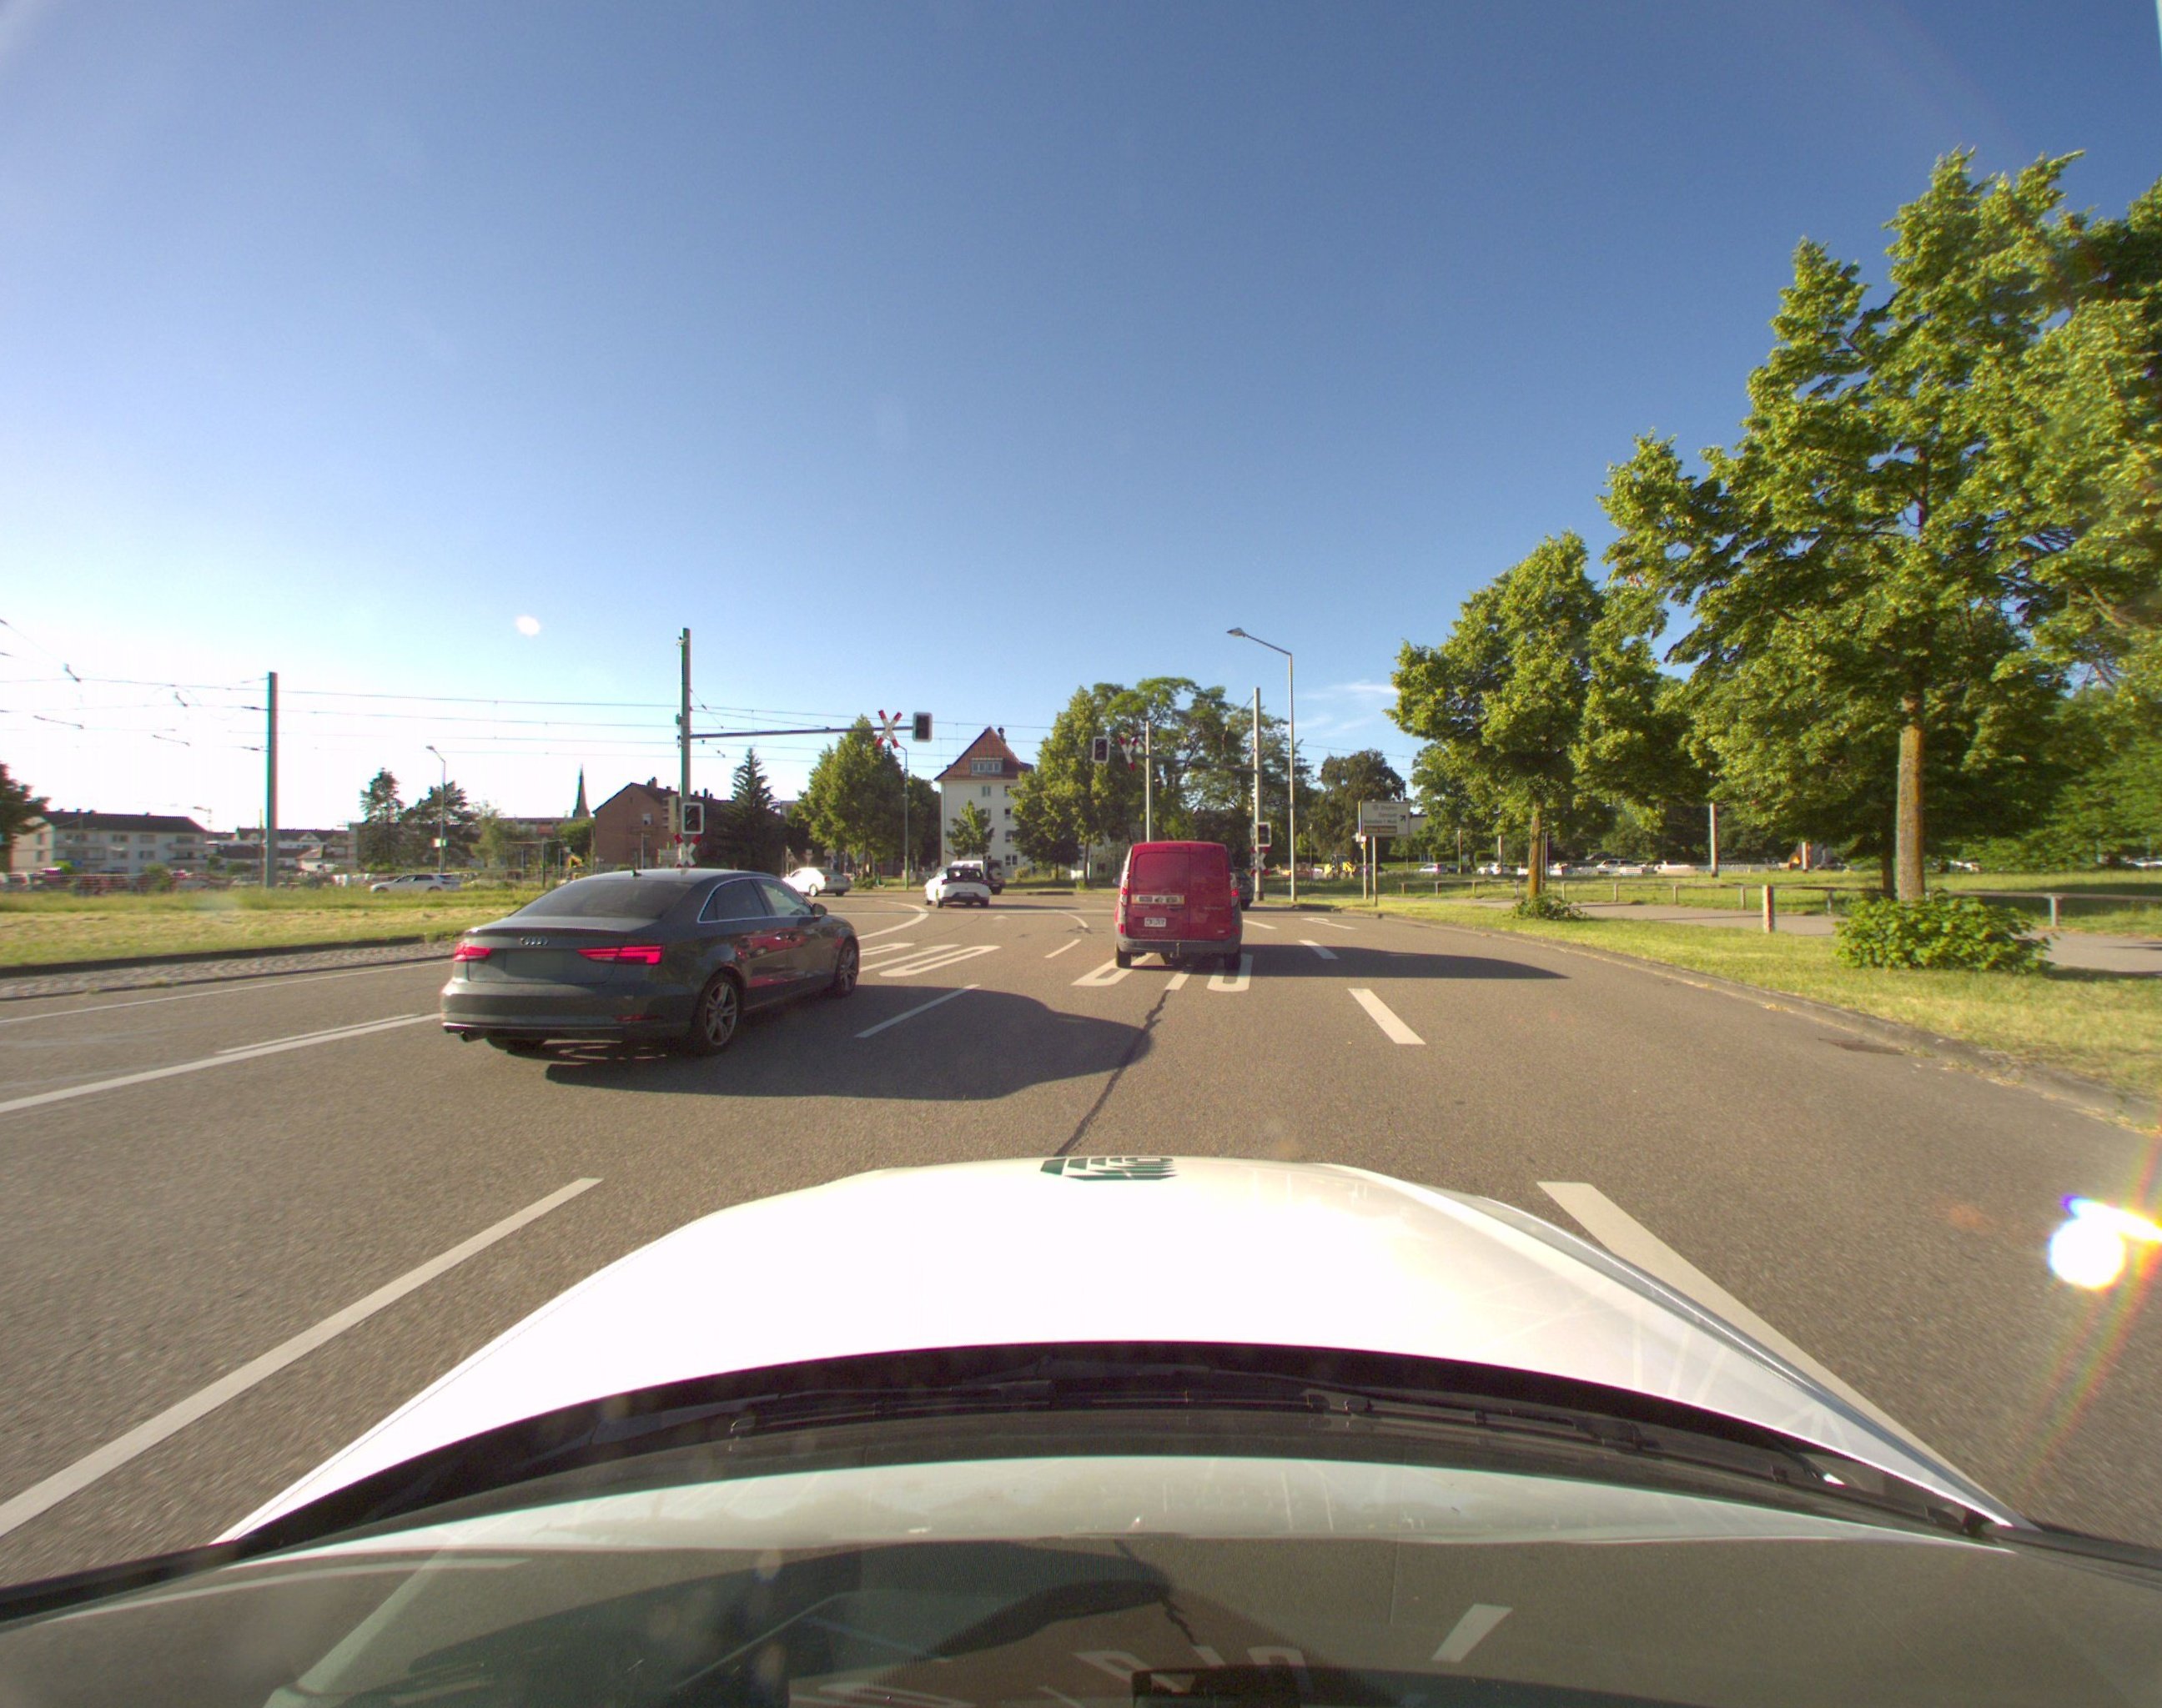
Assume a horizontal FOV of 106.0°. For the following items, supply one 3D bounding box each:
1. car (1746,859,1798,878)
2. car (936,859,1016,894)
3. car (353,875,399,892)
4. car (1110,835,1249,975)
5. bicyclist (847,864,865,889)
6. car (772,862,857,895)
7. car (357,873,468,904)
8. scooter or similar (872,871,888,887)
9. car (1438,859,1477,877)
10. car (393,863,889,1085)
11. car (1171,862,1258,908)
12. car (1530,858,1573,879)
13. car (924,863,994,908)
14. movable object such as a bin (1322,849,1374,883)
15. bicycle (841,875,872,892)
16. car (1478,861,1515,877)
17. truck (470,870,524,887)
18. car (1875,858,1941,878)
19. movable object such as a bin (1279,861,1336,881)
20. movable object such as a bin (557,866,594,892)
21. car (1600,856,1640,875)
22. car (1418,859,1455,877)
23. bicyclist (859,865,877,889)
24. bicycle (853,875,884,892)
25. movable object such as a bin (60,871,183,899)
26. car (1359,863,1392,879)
[{"bbox_3d":[73.460,1.548,86.686,1.989,1.896,3.995,0,-3,-3],"label":"car"},{"bbox_3d":[-5.980,1.277,46.135,4.693,1.897,2.015,-2,-3,44],"label":"car"},{"bbox_3d":[-88.686,3.727,102.487,4.453,2.014,2.007,0,-3,13],"label":"car"},{"bbox_3d":[1.478,0.665,12.660,1.794,1.813,3.815,1,0,5],"label":"car"},{"bbox_3d":[-17.429,1.749,63.023,1.015,1.853,0.815,-1,-3,14],"label":"bicyclist"},{"bbox_3d":[-13.658,1.223,41.603,4.351,1.575,2.013,-1,-1,38],"label":"car"},{"bbox_3d":[-37.836,1.919,46.201,4.398,1.639,1.991,0,-1,-13],"label":"car"},{"bbox_3d":[-15.960,2.023,64.691,1.250,1.248,0.447,-2,-4,20],"label":"scooter or similar"},{"bbox_3d":[39.149,1.478,84.758,1.989,1.769,3.995,0,-3,-3],"label":"car"},{"bbox_3d":[-3.421,0.803,7.486,1.750,1.380,4.368,-1,0,8],"label":"car"},{"bbox_3d":[4.499,1.052,28.127,1.714,1.436,4.137,-1,-2,-10],"label":"car"},{"bbox_3d":[49.020,1.545,84.951,1.989,2.100,3.995,0,-3,-3],"label":"car"},{"bbox_3d":[-4.390,1.099,28.838,1.808,1.461,3.784,1,-2,-19],"label":"car"},{"bbox_3d":[23.425,1.099,71.694,1.996,2.789,5.024,1,-3,-13],"label":"movable object such as a bin"},{"bbox_3d":[-17.382,2.276,62.997,2.186,1.266,0.821,-1,-3,14],"label":"bicycle"},{"bbox_3d":[43.359,1.539,85.068,1.822,1.556,3.804,0,-3,-1],"label":"car"},{"bbox_3d":[-72.504,3.085,101.123,6.360,2.014,2.182,-1,-3,20],"label":"truck"},{"bbox_3d":[75.700,1.319,74.631,1.904,1.756,3.995,0,-3,-3],"label":"car"},{"bbox_3d":[22.619,1.712,81.396,5.006,1.948,2.231,1,-3,-11],"label":"movable object such as a bin"},{"bbox_3d":[-56.124,2.820,90.394,3.949,2.774,2.441,-2,-4,43],"label":"movable object such as a bin"},{"bbox_3d":[56.648,1.231,85.664,1.683,1.780,3.847,0,-3,1],"label":"car"},{"bbox_3d":[37.072,1.509,85.051,1.989,1.724,3.995,0,-3,-3],"label":"car"},{"bbox_3d":[-16.743,1.799,64.024,1.015,1.853,0.815,-1,-3,14],"label":"bicyclist"},{"bbox_3d":[-16.659,2.324,63.966,2.186,1.266,0.821,-1,-3,14],"label":"bicycle"},{"bbox_3d":[-102.395,3.235,87.099,2.909,2.783,7.972,-1,-1,20],"label":"movable object such as a bin"},{"bbox_3d":[30.338,1.738,84.006,1.915,1.557,3.946,0,-3,-2],"label":"car"}]
